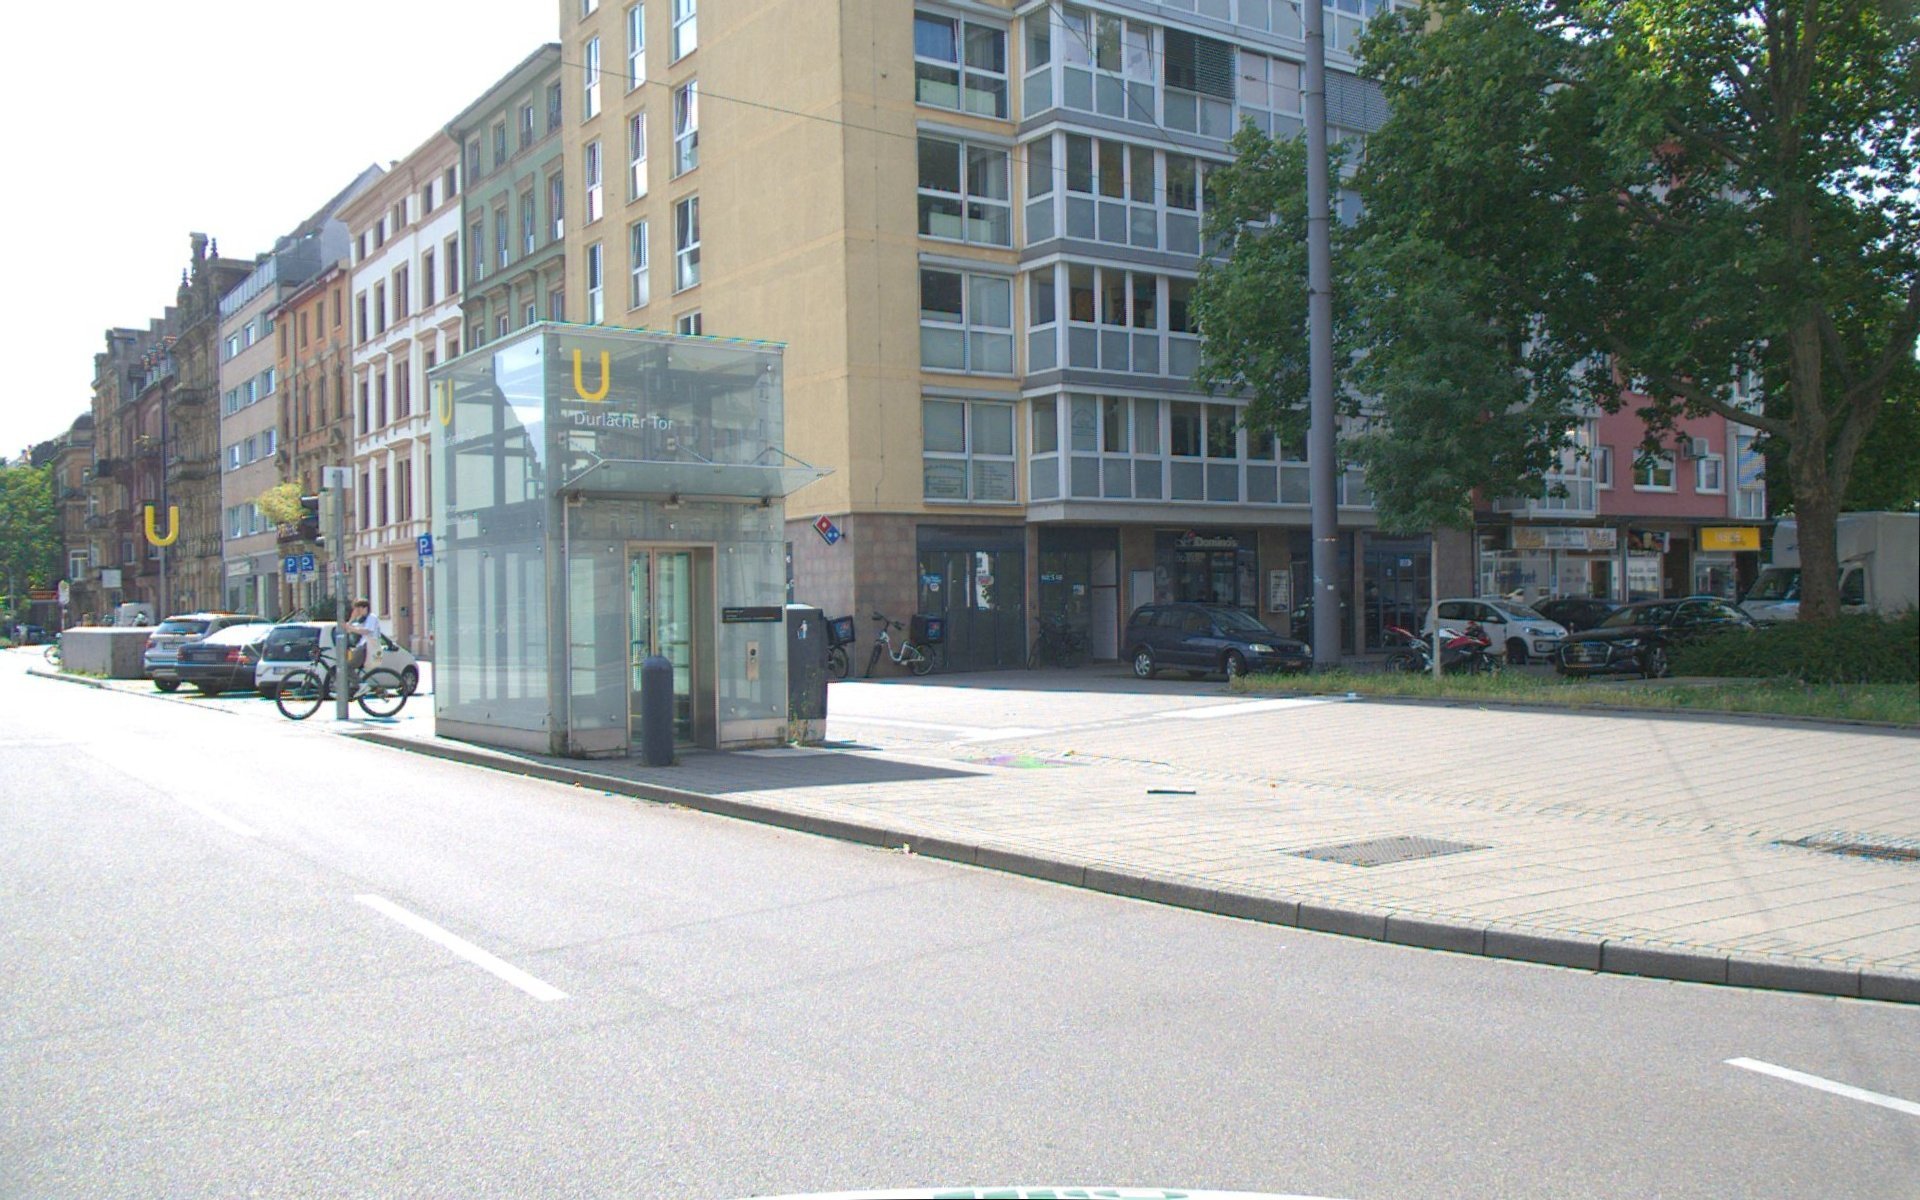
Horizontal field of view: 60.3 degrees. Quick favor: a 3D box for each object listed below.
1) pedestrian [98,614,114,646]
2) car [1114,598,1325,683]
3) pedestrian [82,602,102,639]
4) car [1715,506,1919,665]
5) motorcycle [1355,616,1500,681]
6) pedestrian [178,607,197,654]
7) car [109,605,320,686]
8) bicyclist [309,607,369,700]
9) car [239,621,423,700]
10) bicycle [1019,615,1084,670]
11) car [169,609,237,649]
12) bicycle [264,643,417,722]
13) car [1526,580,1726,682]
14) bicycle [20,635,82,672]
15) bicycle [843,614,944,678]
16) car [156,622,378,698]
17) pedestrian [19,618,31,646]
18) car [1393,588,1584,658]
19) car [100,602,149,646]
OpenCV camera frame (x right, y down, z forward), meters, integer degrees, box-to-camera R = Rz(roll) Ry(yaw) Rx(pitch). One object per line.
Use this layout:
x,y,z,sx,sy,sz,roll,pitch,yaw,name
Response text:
-50.615,1.759,98.032,0.659,1.869,0.684,-1,-1,-41,pedestrian
5.006,0.760,32.413,1.789,1.541,4.044,-1,0,-35,car
-44.963,1.064,85.690,0.681,1.936,0.662,-2,-1,37,pedestrian
18.912,-0.303,34.949,7.163,3.096,1.976,-1,0,-35,car
7.645,0.798,27.137,2.238,1.048,0.975,-1,-2,14,motorcycle
-36.335,1.431,77.771,0.715,2.136,0.777,0,1,-34,pedestrian
-16.953,1.004,37.902,2.011,1.676,4.600,-1,0,13,car
-9.232,0.786,24.606,0.767,1.359,0.394,0,1,-9,bicyclist
-12.489,1.180,33.069,1.735,1.479,3.499,-1,-1,15,car
1.996,0.915,36.083,1.329,1.149,0.587,0,1,-32,bicycle
-38.294,1.470,83.642,1.981,1.895,4.683,-1,-1,-40,car
-9.203,1.220,24.620,2.054,1.125,0.543,0,1,-8,bicycle
12.467,0.536,30.871,3.968,1.736,1.968,-1,0,-43,car
-32.801,1.916,59.701,0.433,1.259,1.919,1,2,42,bicycle
-1.337,0.913,33.568,2.171,1.223,0.472,-1,1,-36,bicycle
-14.531,1.219,34.991,1.892,1.486,4.603,-1,-1,16,car
-70.863,2.423,125.367,0.761,2.049,0.707,-1,-1,-34,pedestrian
12.407,0.532,39.008,1.789,1.541,4.044,-1,0,-35,car
-51.066,1.446,101.040,1.976,2.570,5.817,0,-1,-34,car
